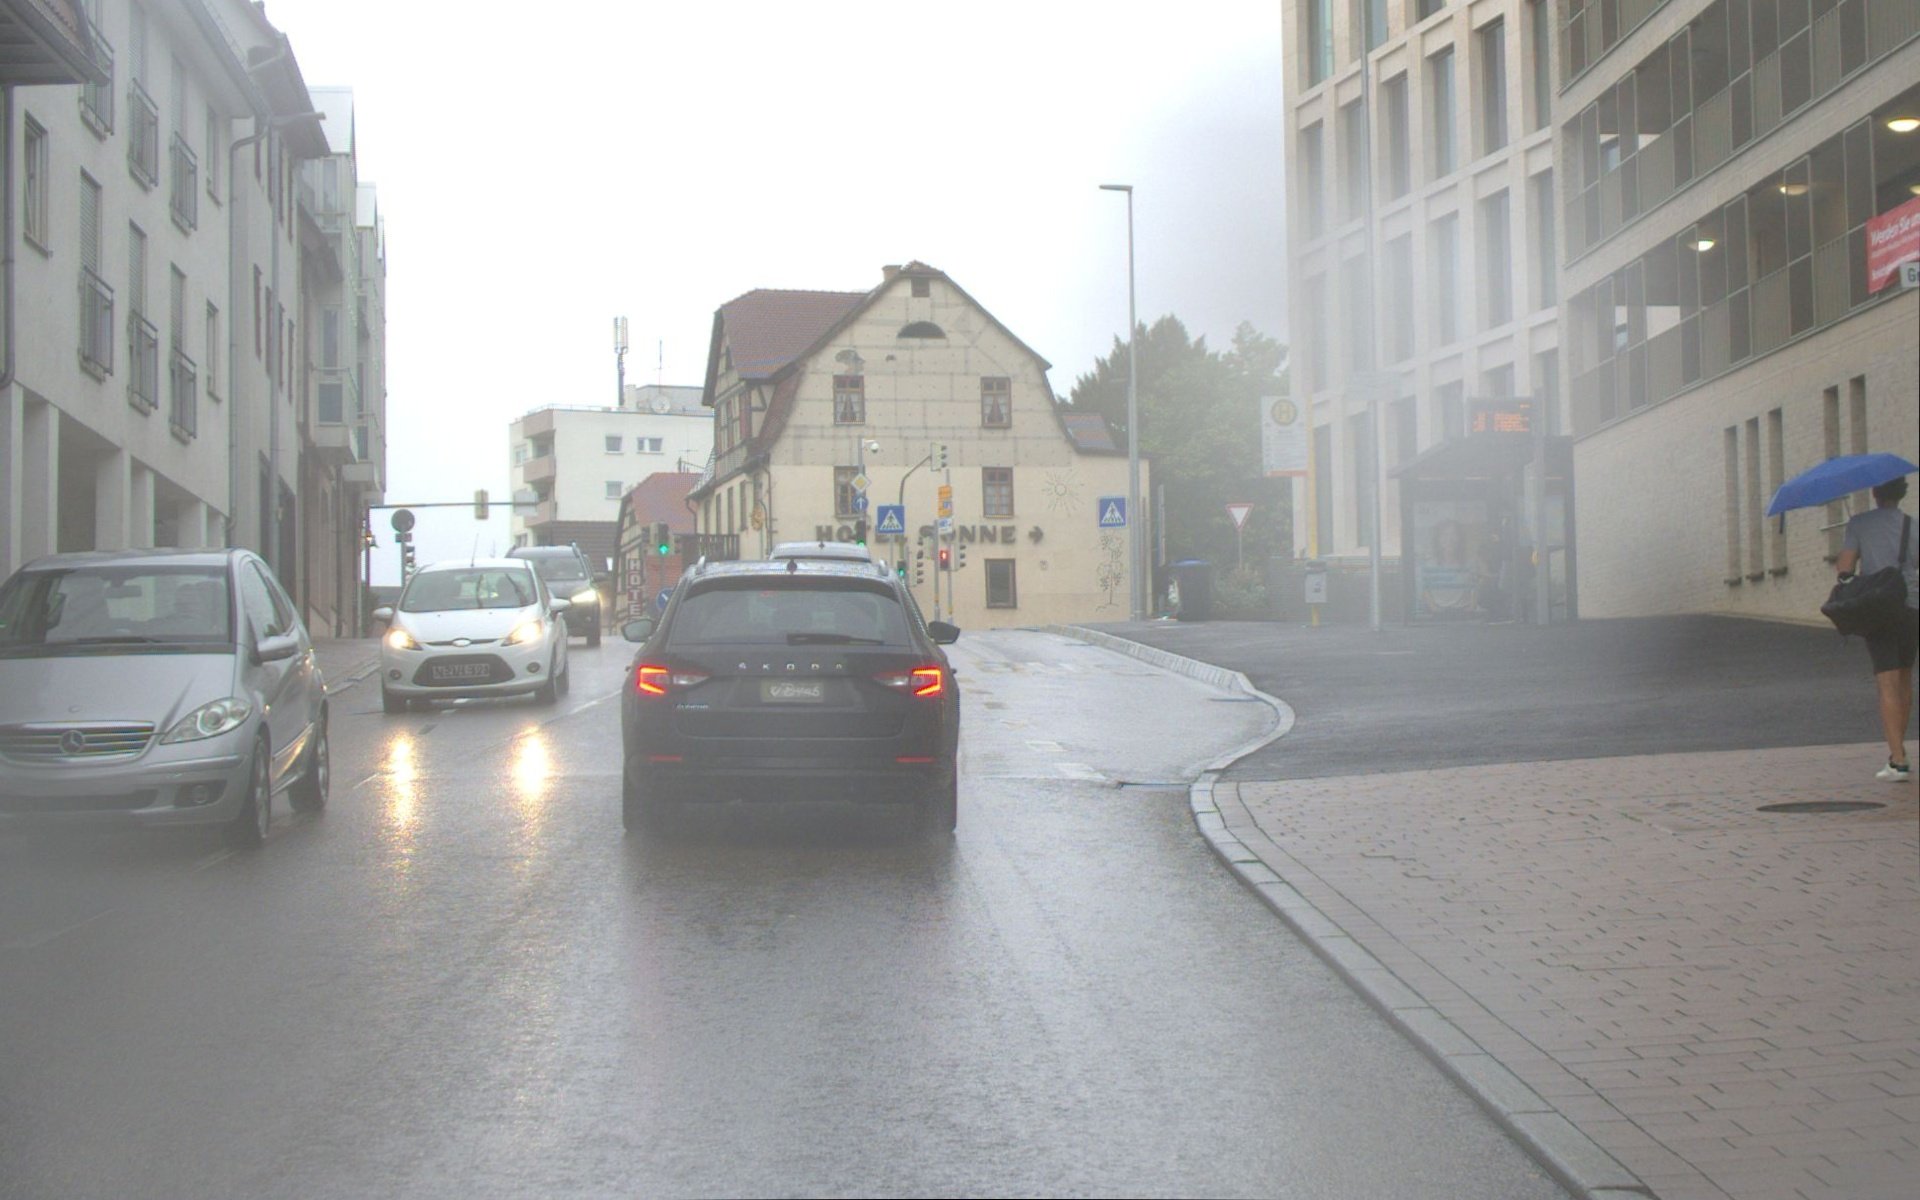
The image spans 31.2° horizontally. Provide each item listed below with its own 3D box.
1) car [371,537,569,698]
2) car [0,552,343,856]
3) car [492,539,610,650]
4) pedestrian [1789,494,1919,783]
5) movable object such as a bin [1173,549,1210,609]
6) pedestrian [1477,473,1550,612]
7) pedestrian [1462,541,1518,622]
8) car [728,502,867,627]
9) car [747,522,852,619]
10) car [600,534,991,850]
[{"bbox_3d":[-4.865,0.138,34.520,1.677,1.505,3.589,-1,1,-4],"label":"car"},{"bbox_3d":[-4.512,0.498,19.016,1.677,1.505,3.589,-1,1,-2],"label":"car"},{"bbox_3d":[-6.576,-0.119,55.579,1.781,1.688,4.460,-1,1,-6],"label":"car"},{"bbox_3d":[5.153,0.194,19.175,0.736,1.537,1.038,-4,1,2],"label":"pedestrian"},{"bbox_3d":[4.137,-0.380,61.470,0.595,1.058,0.579,-1,1,-2],"label":"movable object such as a bin"},{"bbox_3d":[7.874,-0.818,48.978,0.782,1.933,1.021,-2,1,-1],"label":"pedestrian"},{"bbox_3d":[7.785,-0.279,50.495,0.672,1.158,0.635,-2,1,-1],"label":"pedestrian"},{"bbox_3d":[-2.110,-0.460,43.812,1.677,1.505,3.589,-1,1,-4],"label":"car"},{"bbox_3d":[-2.715,-0.520,58.837,1.680,1.554,4.000,-1,1,-2],"label":"car"},{"bbox_3d":[-0.976,0.428,19.459,1.944,1.561,4.418,-1,1,-4],"label":"car"}]
